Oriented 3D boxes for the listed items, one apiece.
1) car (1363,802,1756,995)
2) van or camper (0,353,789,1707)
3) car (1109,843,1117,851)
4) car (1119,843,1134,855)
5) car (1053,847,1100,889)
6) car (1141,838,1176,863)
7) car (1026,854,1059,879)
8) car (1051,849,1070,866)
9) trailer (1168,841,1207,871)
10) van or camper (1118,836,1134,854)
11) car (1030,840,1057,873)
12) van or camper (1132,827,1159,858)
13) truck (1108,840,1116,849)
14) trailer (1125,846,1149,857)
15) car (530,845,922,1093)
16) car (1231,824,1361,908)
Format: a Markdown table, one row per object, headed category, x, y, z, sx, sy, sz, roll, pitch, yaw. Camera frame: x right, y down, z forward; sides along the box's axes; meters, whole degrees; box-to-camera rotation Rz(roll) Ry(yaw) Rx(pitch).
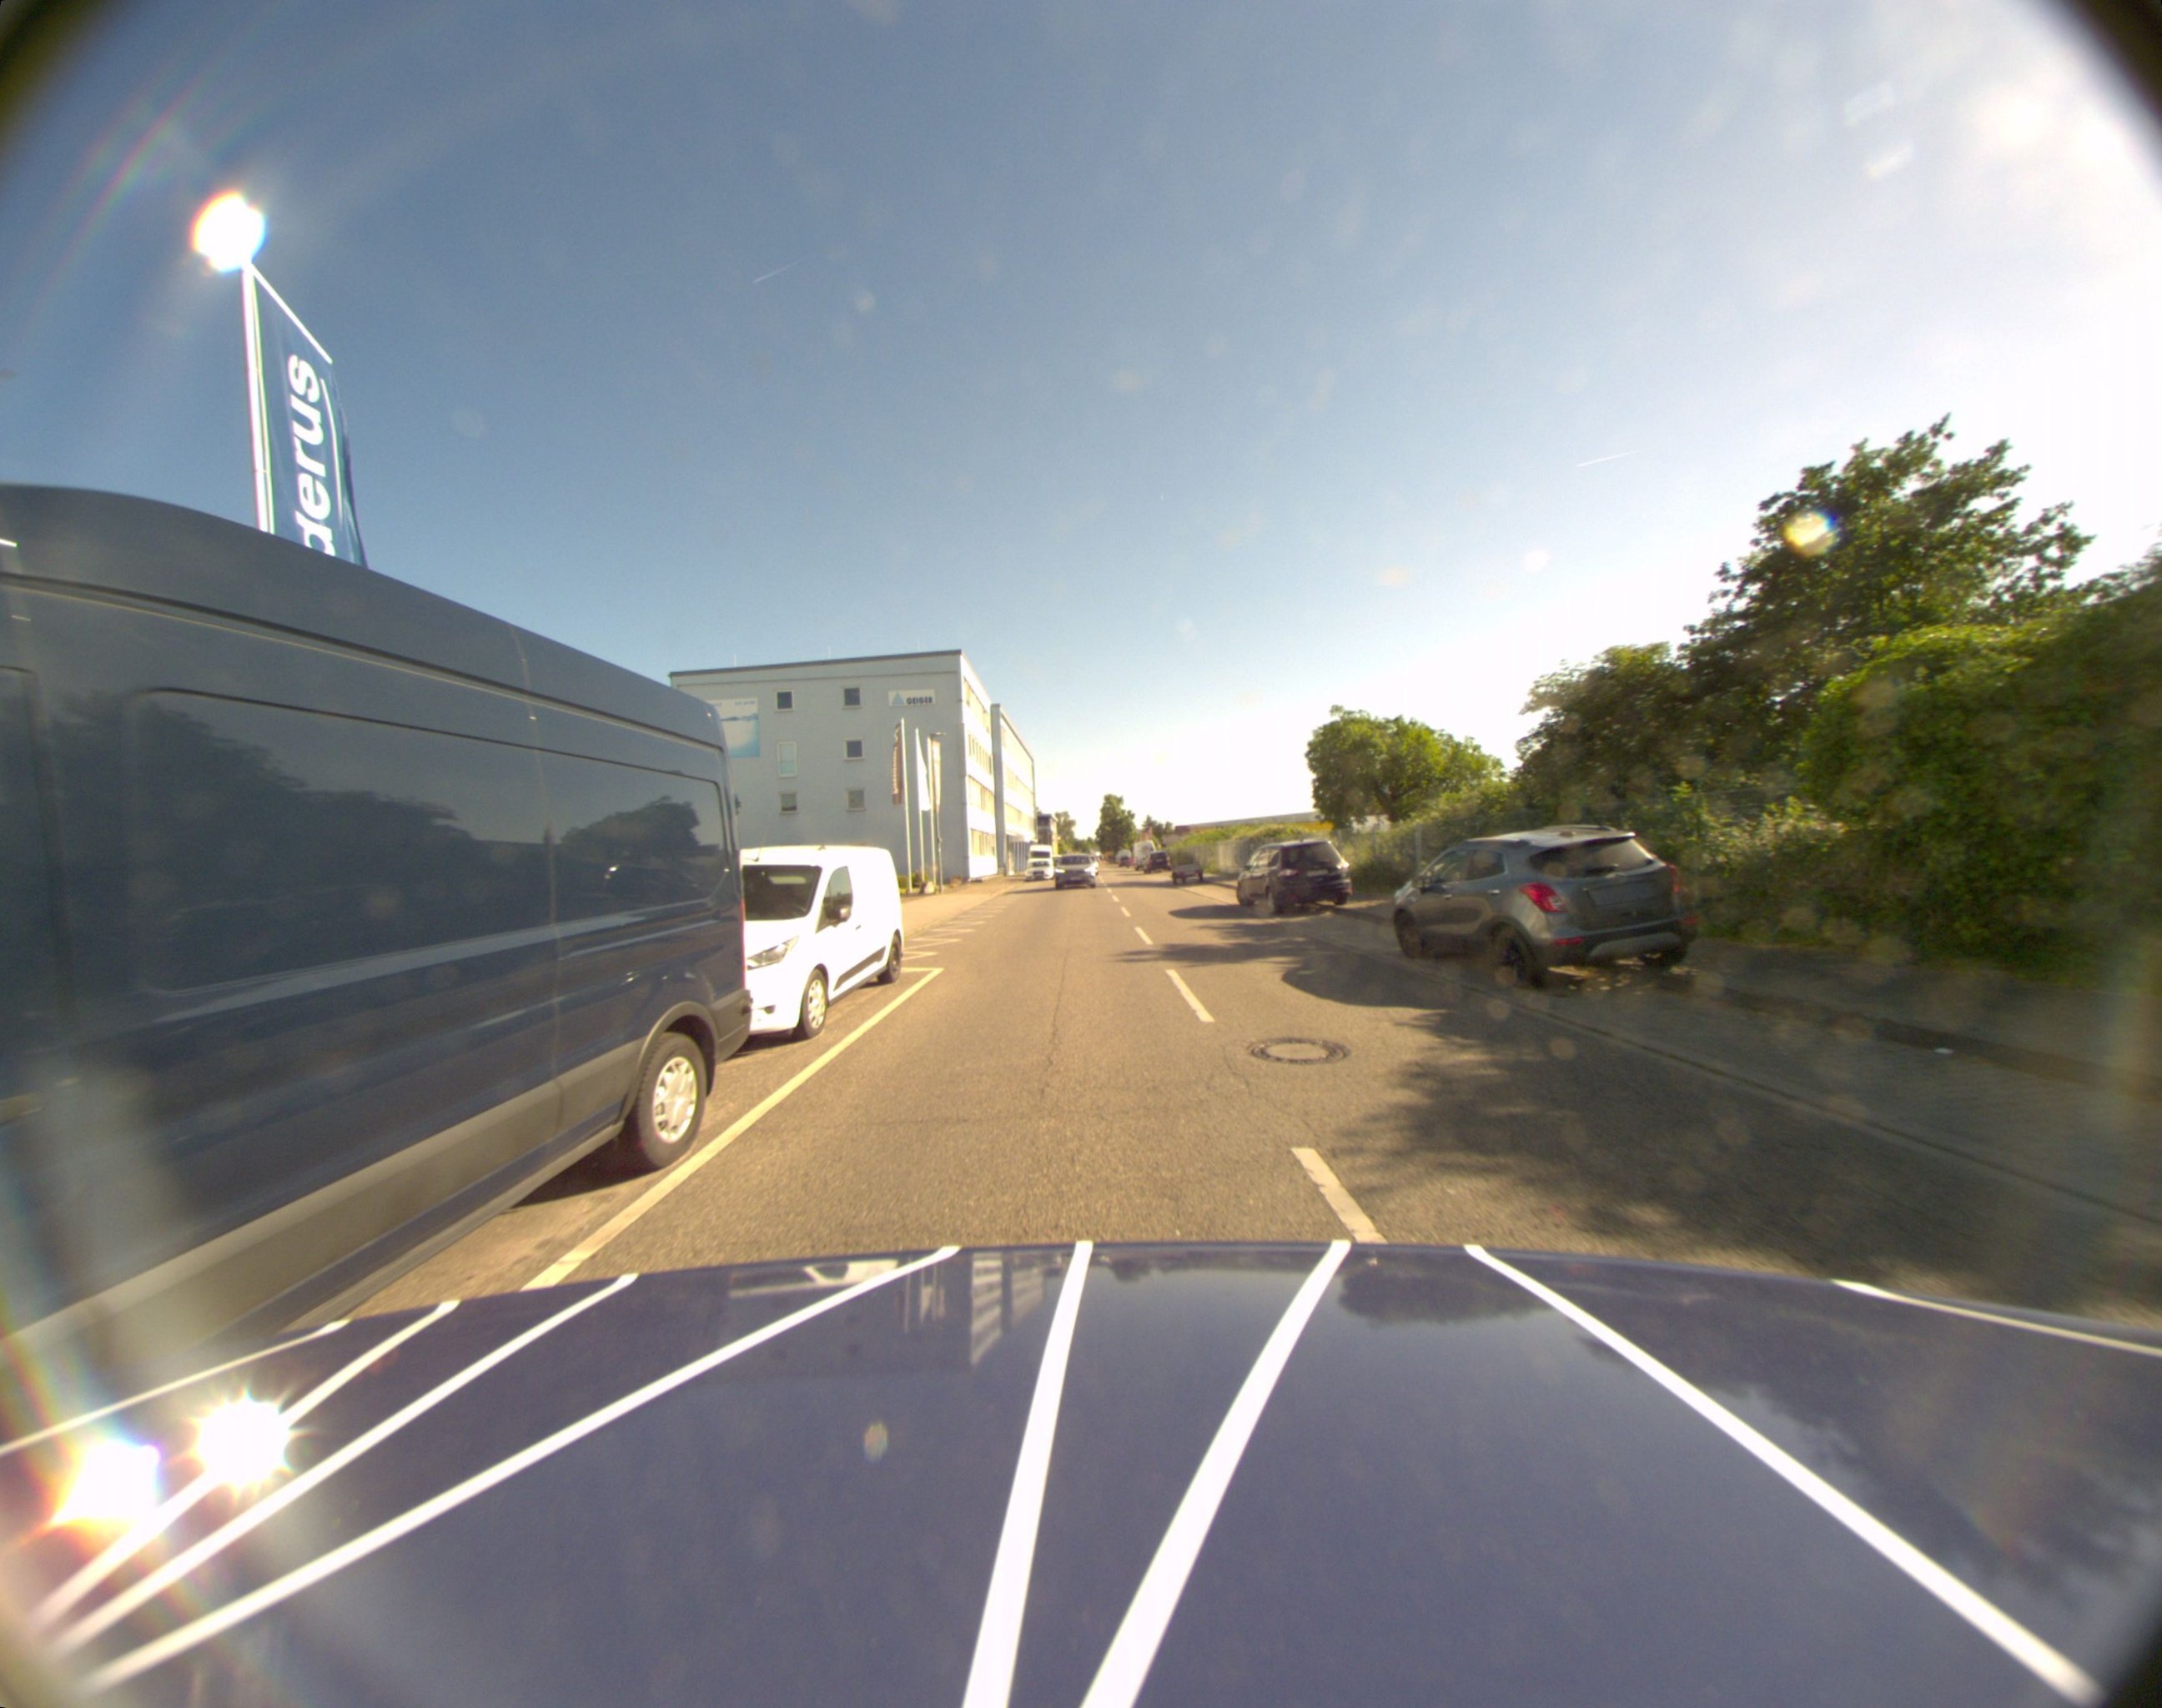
| category | x | y | z | sx | sy | sz | roll | pitch | yaw |
| --- | --- | --- | --- | --- | --- | --- | --- | --- | --- |
| car | 5.496 | 0.409 | 9.619 | 1.913 | 1.653 | 4.462 | -7 | 1 | -2 |
| van or camper | -3.218 | 0.392 | 2.097 | 2.146 | 2.744 | 6.160 | -4 | 1 | 1 |
| car | 8.208 | -1.903 | 193.781 | 1.779 | 1.838 | 4.615 | -5 | 1 | 4 |
| car | 6.663 | -0.765 | 110.909 | 1.804 | 1.501 | 5.002 | -6 | 1 | 1 |
| car | -0.176 | 0.599 | 36.243 | 1.998 | 1.750 | 5.015 | -3 | 0 | 1 |
| car | 6.036 | -0.265 | 59.707 | 2.035 | 1.684 | 5.106 | -7 | 1 | -1 |
| car | -2.606 | 0.820 | 52.907 | 1.899 | 1.397 | 5.123 | -4 | 1 | 0 |
| car | -2.395 | 0.331 | 90.300 | 1.894 | 1.821 | 5.090 | -3 | 1 | 2 |
| trailer | 5.339 | 0.076 | 38.492 | 1.480 | 1.346 | 3.078 | -4 | 1 | 1 |
| van or camper | 7.160 | -1.375 | 121.724 | 2.076 | 2.534 | 6.403 | -7 | 0 | 1 |
| car | -3.114 | 0.205 | 64.568 | 1.999 | 2.582 | 6.050 | -1 | 0 | 0 |
| van or camper | 6.096 | -1.082 | 72.545 | 1.971 | 2.670 | 5.948 | -8 | 0 | 3 |
| truck | 9.091 | -2.818 | 225.362 | 2.173 | 2.698 | 5.749 | -4 | 1 | 1 |
| trailer | 6.713 | -0.259 | 91.594 | 2.382 | 1.073 | 6.245 | -6 | 0 | 0 |
| car | -3.330 | 0.879 | 8.554 | 1.890 | 1.787 | 5.102 | -4 | 1 | 0 |
| car | 5.383 | 0.260 | 19.763 | 1.796 | 1.721 | 4.801 | -7 | 1 | -1 |
